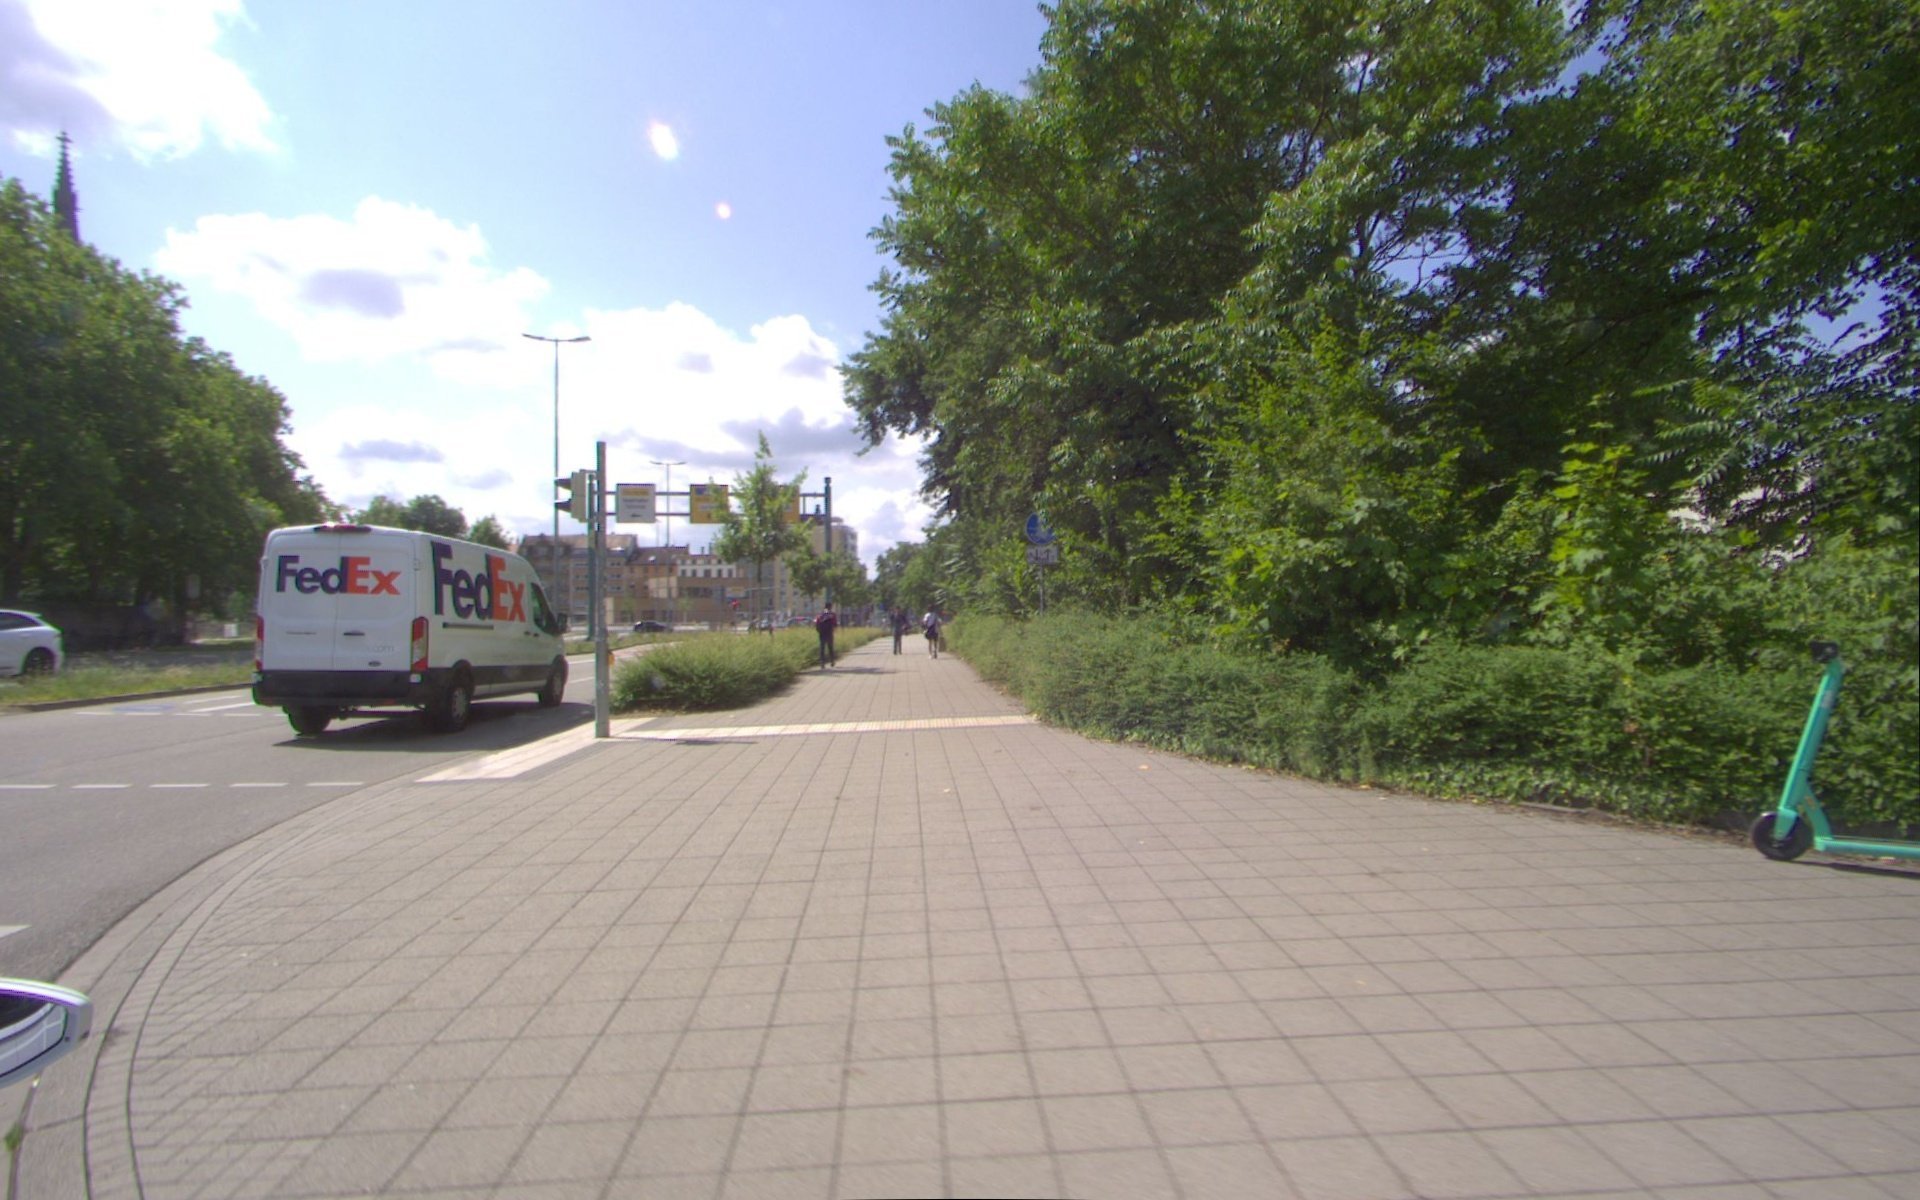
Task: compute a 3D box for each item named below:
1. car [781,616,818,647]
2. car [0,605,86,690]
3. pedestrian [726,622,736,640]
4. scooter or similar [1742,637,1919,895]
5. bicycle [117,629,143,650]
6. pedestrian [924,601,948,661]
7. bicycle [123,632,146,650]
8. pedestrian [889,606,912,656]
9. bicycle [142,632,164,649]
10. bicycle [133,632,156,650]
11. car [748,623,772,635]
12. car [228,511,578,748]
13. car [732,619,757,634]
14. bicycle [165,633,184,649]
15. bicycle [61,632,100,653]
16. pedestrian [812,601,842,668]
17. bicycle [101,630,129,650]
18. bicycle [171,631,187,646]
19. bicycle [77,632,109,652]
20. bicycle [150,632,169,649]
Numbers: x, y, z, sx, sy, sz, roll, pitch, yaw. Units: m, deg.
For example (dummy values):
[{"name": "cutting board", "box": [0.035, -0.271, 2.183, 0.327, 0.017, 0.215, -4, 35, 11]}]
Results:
[{"name": "car", "box": [-9.541, 1.885, 59.944, 1.783, 1.756, 4.389, 1, -1, -4]}, {"name": "car", "box": [-20.292, 0.948, 19.786, 2.037, 1.689, 4.776, 0, -1, -3]}, {"name": "pedestrian", "box": [-20.937, 2.826, 91.527, 0.859, 1.580, 0.555, 0, 0, -3]}, {"name": "scooter or similar", "box": [4.791, 0.824, 5.113, 1.213, 1.250, 0.435, -1, 1, 32]}, {"name": "bicycle", "box": [-42.284, 1.990, 51.031, 0.536, 1.065, 1.620, 0, -1, -21]}, {"name": "pedestrian", "box": [-0.721, 0.922, 29.828, 0.711, 1.744, 0.747, 0, -1, -3]}, {"name": "bicycle", "box": [-43.230, 2.125, 52.446, 0.537, 0.914, 1.659, 0, -1, -24]}, {"name": "pedestrian", "box": [-2.080, 1.080, 35.215, 0.800, 1.744, 0.930, 0, -1, -3]}, {"name": "bicycle", "box": [-44.720, 2.216, 55.515, 0.537, 0.914, 1.659, 0, -1, -24]}, {"name": "bicycle", "box": [-43.971, 2.192, 53.999, 0.537, 0.914, 1.659, 0, -1, -24]}, {"name": "car", "box": [-27.167, 3.946, 136.359, 1.871, 1.605, 4.000, 0, -2, 10]}, {"name": "car", "box": [-7.445, 0.399, 14.289, 2.106, 2.687, 5.704, 0, -1, -4]}, {"name": "car", "box": [-29.352, 3.622, 136.439, 1.962, 2.039, 4.000, 0, -2, 10]}, {"name": "bicycle", "box": [-47.228, 2.472, 60.215, 0.537, 0.914, 1.659, 0, -1, -24]}, {"name": "bicycle", "box": [-39.710, 1.898, 45.233, 0.494, 0.914, 1.665, 0, -1, -8]}, {"name": "pedestrian", "box": [-3.501, 0.917, 26.424, 0.705, 1.744, 0.837, 0, -1, -3]}, {"name": "bicycle", "box": [-41.697, 1.982, 49.446, 0.536, 0.964, 1.661, 0, -1, -21]}, {"name": "bicycle", "box": [-48.340, 2.390, 61.970, 0.537, 0.914, 1.657, 0, -1, -29]}, {"name": "bicycle", "box": [-40.610, 1.965, 46.917, 0.536, 0.914, 1.662, 0, -1, -19]}, {"name": "bicycle", "box": [-45.609, 2.316, 57.057, 0.446, 0.914, 1.788, 0, -1, -24]}]
